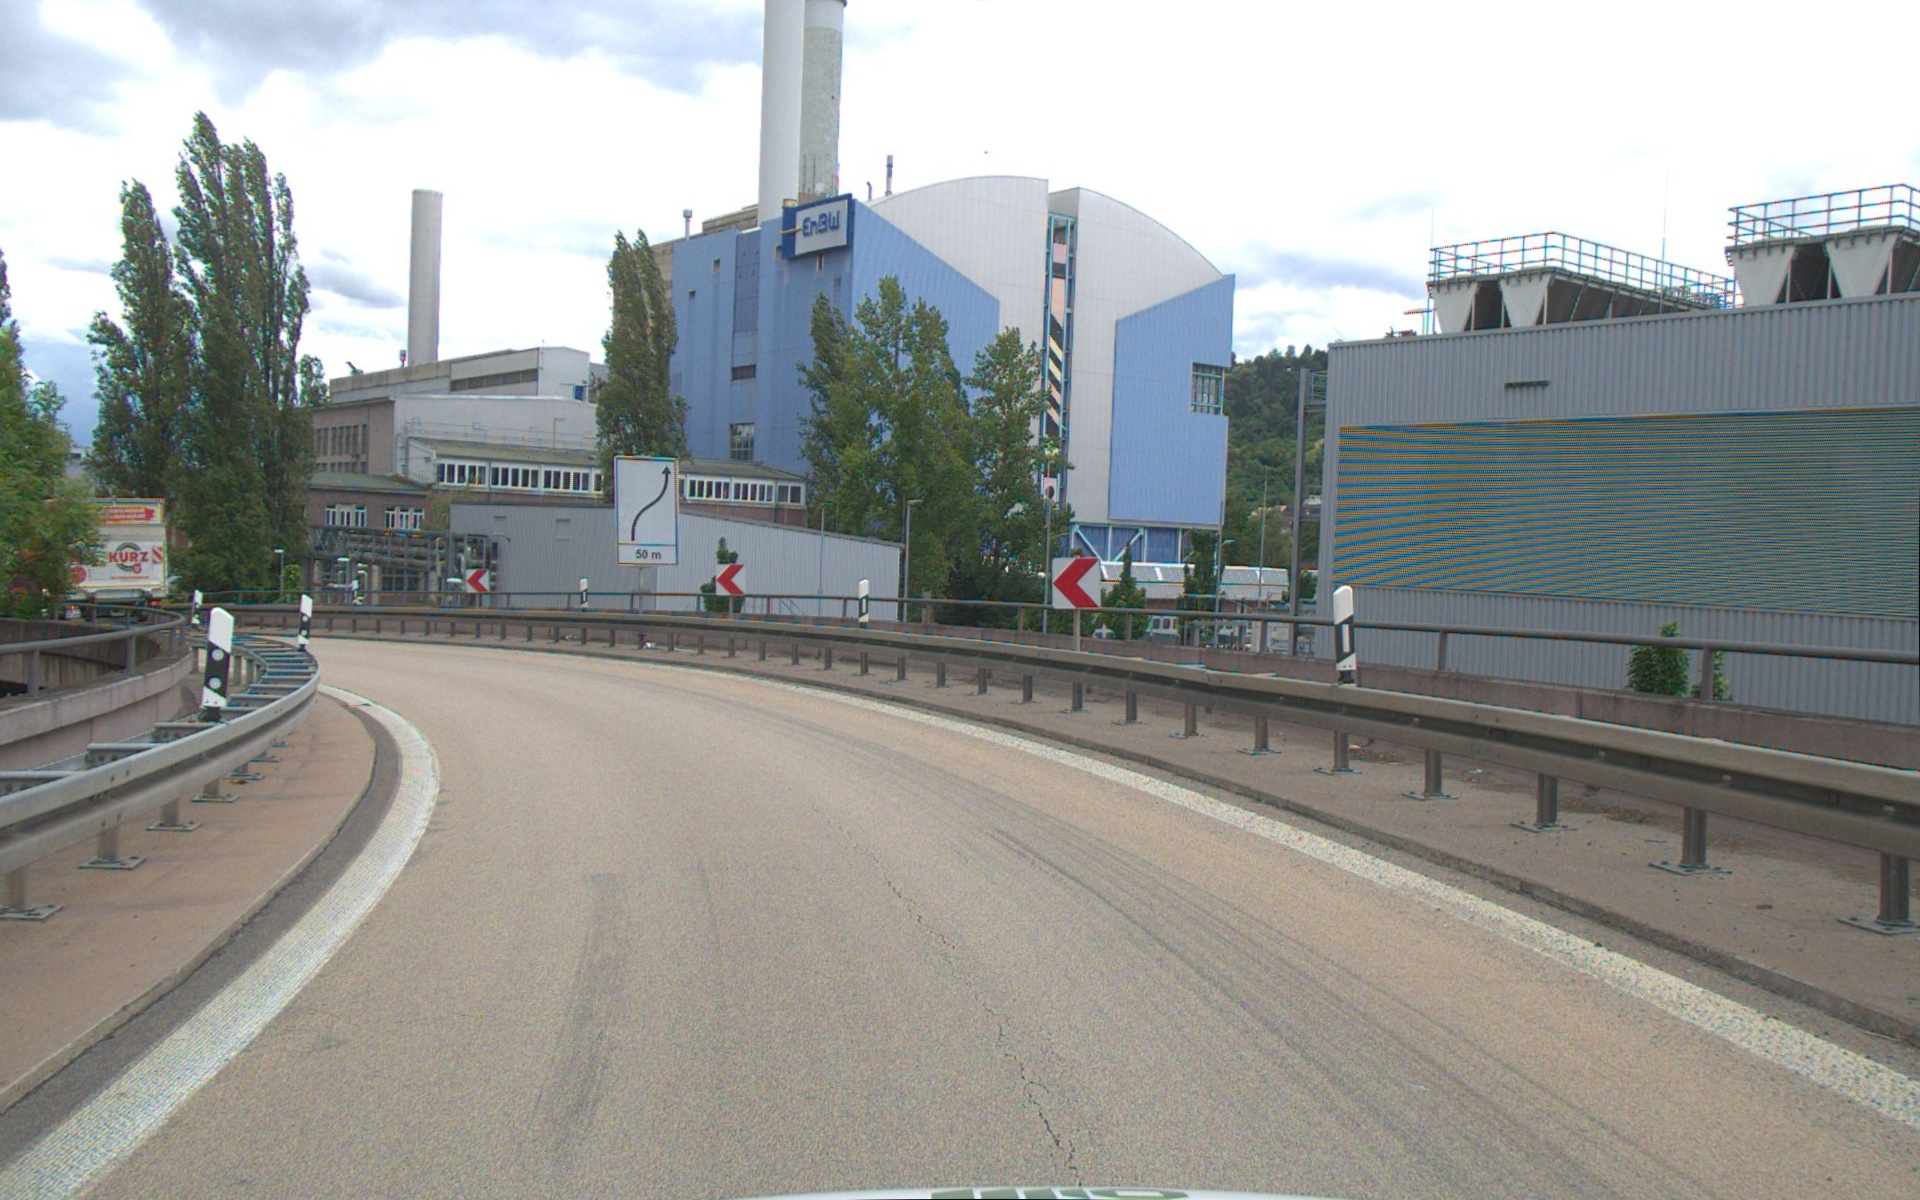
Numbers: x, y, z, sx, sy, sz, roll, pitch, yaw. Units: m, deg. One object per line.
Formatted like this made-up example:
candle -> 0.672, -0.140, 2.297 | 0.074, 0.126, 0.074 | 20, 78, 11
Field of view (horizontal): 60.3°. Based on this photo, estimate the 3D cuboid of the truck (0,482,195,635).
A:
truck -> -23.606, -1.131, 44.062 | 7.789, 3.737, 3.042 | 3, 1, 43
